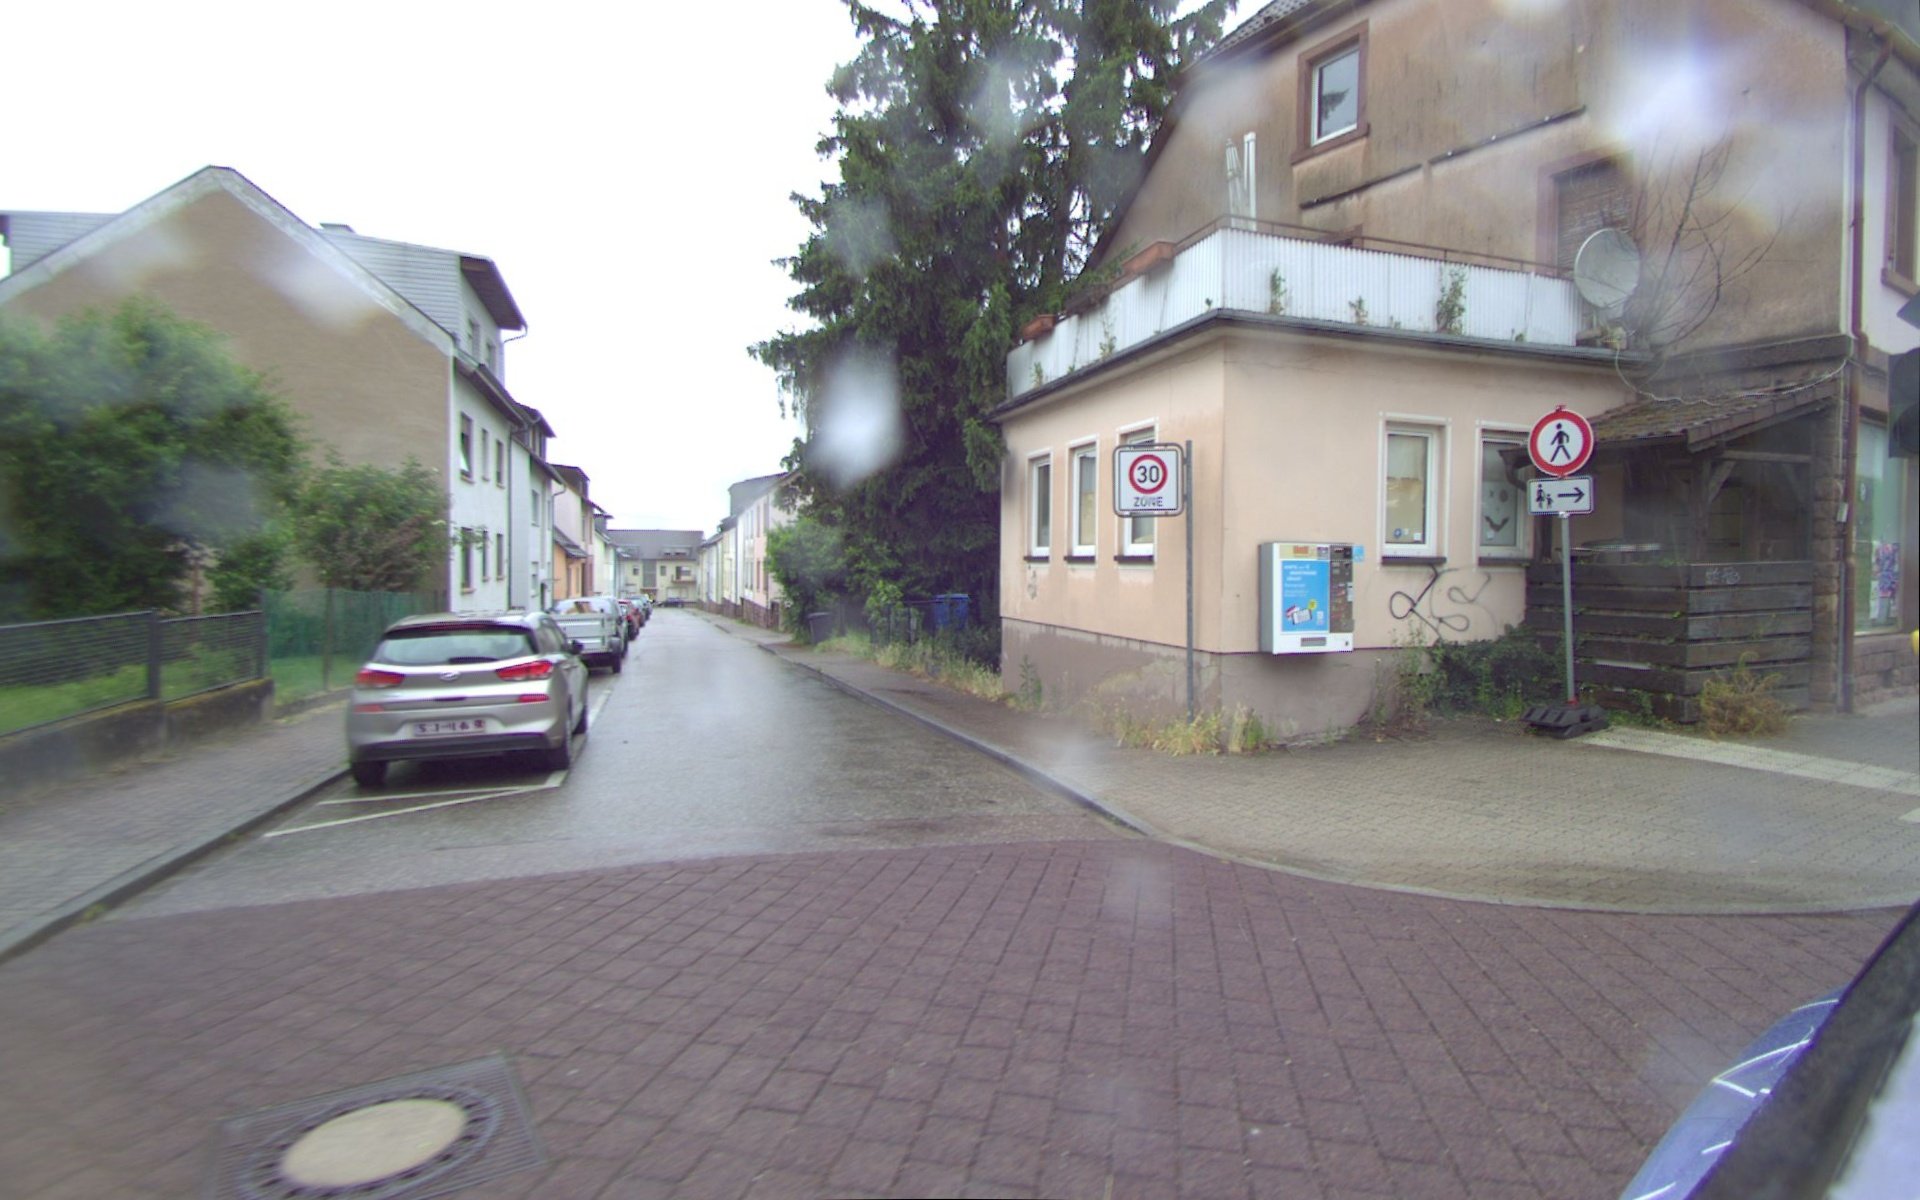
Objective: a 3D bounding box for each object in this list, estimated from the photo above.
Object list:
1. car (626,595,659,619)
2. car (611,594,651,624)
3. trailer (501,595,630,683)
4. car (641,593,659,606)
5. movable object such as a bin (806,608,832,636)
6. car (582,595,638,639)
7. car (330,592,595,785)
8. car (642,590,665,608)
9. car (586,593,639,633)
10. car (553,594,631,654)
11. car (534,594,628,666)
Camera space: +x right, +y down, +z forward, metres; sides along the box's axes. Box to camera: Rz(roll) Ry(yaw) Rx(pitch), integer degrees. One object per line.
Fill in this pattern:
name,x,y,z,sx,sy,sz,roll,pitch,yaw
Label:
car,-21.897,0.448,69.936,1.958,1.590,4.105,-1,1,-15
car,-18.820,0.473,57.992,1.958,1.590,4.105,-1,1,-15
trailer,-8.083,0.714,21.138,1.961,1.586,4.556,-1,0,-15
car,-39.544,-0.069,129.134,1.958,1.590,4.105,-1,1,-15
movable object such as a bin,-4.140,0.630,29.689,0.685,0.775,0.745,-1,1,-13
car,-13.755,0.621,39.994,1.958,1.590,4.105,-1,1,-17
car,-4.719,0.682,10.172,1.755,1.489,4.009,0,1,-17
car,-28.913,-0.126,95.616,1.958,1.590,4.105,-1,1,-15
car,-15.237,0.531,44.565,1.958,1.590,4.105,-1,1,-15
car,-10.807,0.634,29.926,1.958,1.590,4.105,-1,1,-17
car,-9.399,0.684,25.386,1.958,1.590,4.105,-1,1,-17
